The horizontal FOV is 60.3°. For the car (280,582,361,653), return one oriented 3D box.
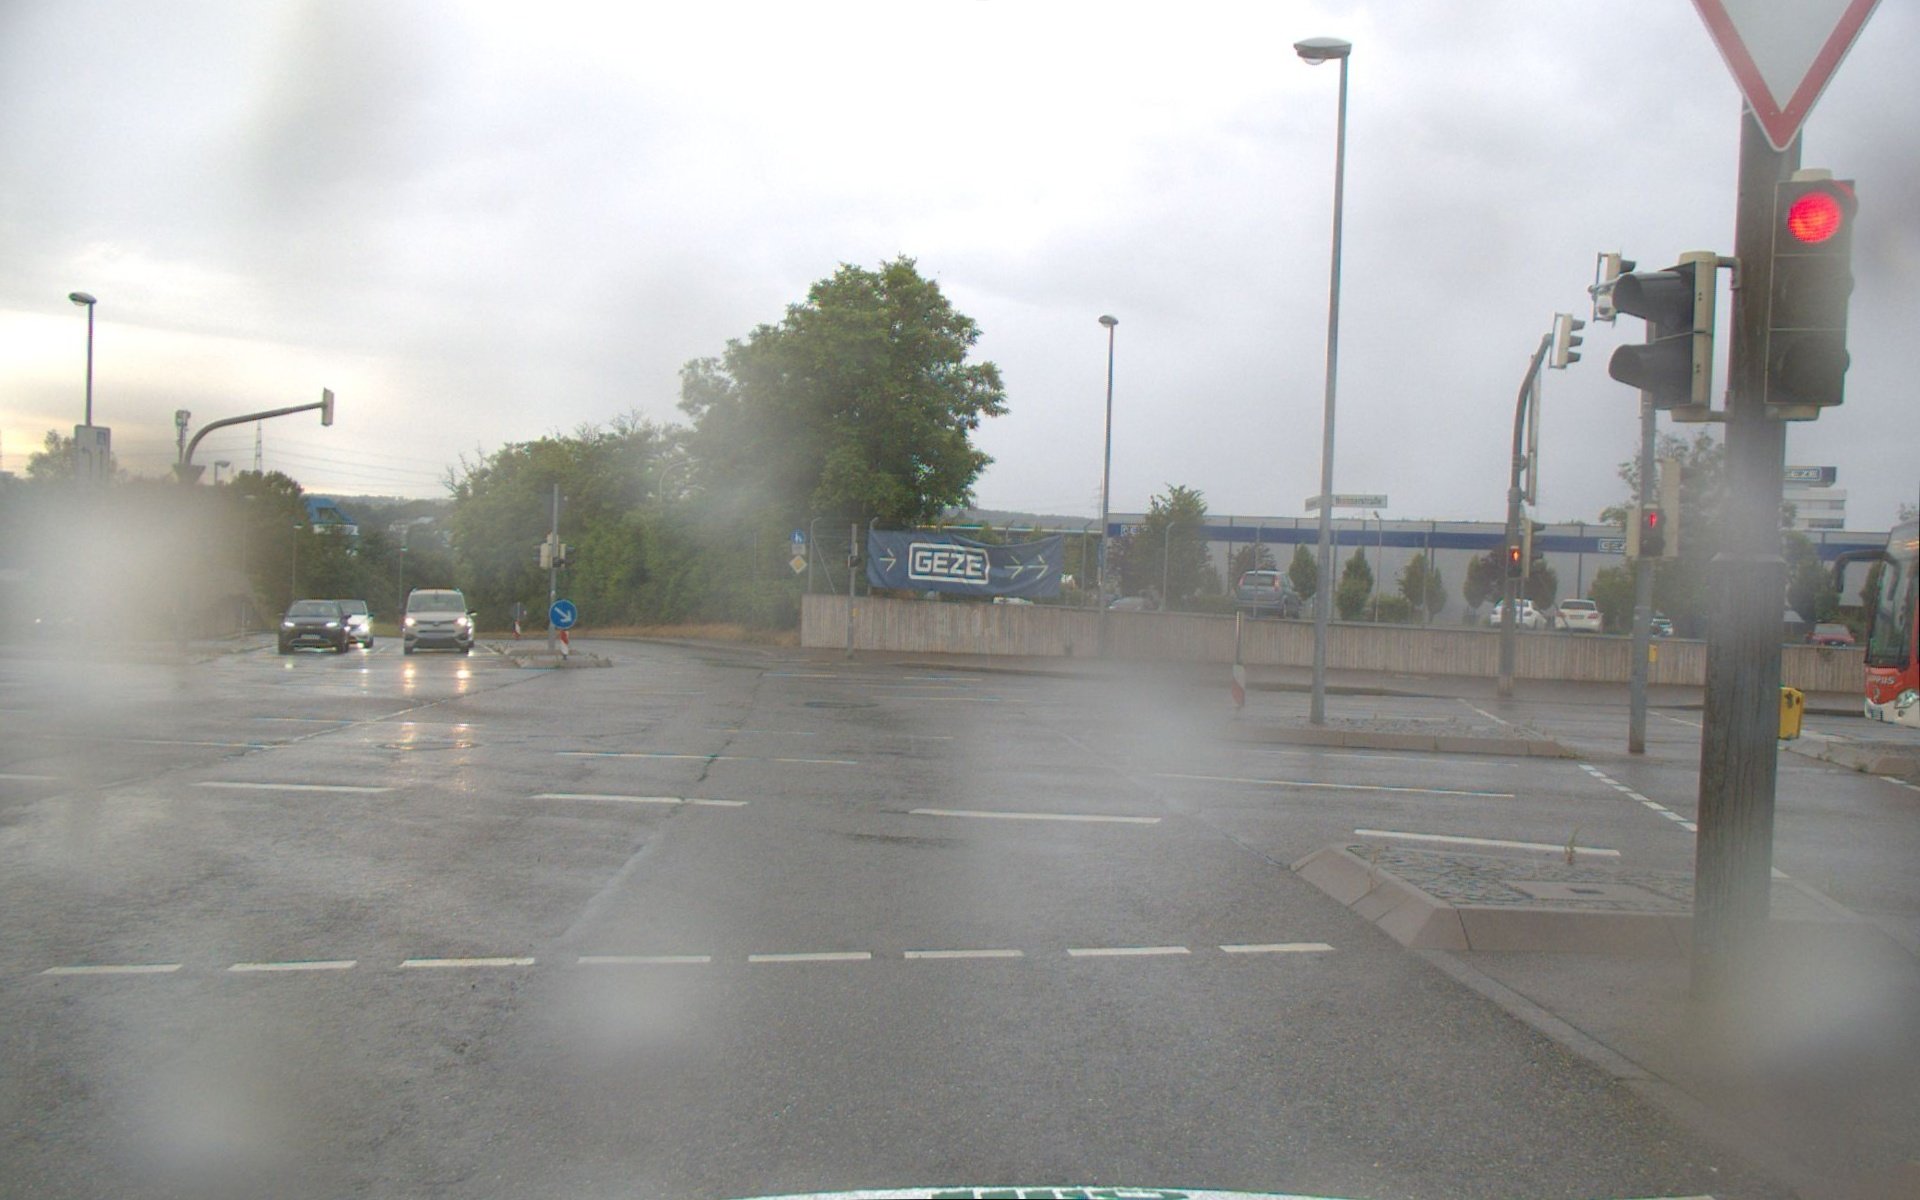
[{"bbox_3d":[-18.503,0.478,47.990,1.963,1.928,3.979,1,1,-19],"label":"car"}]

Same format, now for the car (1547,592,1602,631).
[{"bbox_3d":[25.259,0.462,68.054,1.952,1.504,4.001,2,1,19],"label":"car"}]

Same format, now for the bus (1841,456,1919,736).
[{"bbox_3d":[17.663,0.217,19.841,12.019,3.379,3.076,3,1,17],"label":"bus"}]

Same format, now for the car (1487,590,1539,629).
[{"bbox_3d":[22.963,0.393,68.643,1.952,1.504,4.001,2,1,19],"label":"car"}]

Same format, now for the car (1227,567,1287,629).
[{"bbox_3d":[10.396,-0.059,57.839,1.951,2.049,4.003,1,0,11],"label":"car"}]

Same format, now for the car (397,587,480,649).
[{"bbox_3d":[-14.886,0.484,47.356,1.960,1.646,3.986,1,1,-14],"label":"car"}]

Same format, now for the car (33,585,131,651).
[{"bbox_3d":[-27.501,0.534,51.919,1.962,1.928,3.981,1,0,-18],"label":"car"}]

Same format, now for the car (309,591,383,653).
[{"bbox_3d":[-20.384,0.701,55.057,1.961,1.928,3.983,1,0,-16],"label":"car"}]
